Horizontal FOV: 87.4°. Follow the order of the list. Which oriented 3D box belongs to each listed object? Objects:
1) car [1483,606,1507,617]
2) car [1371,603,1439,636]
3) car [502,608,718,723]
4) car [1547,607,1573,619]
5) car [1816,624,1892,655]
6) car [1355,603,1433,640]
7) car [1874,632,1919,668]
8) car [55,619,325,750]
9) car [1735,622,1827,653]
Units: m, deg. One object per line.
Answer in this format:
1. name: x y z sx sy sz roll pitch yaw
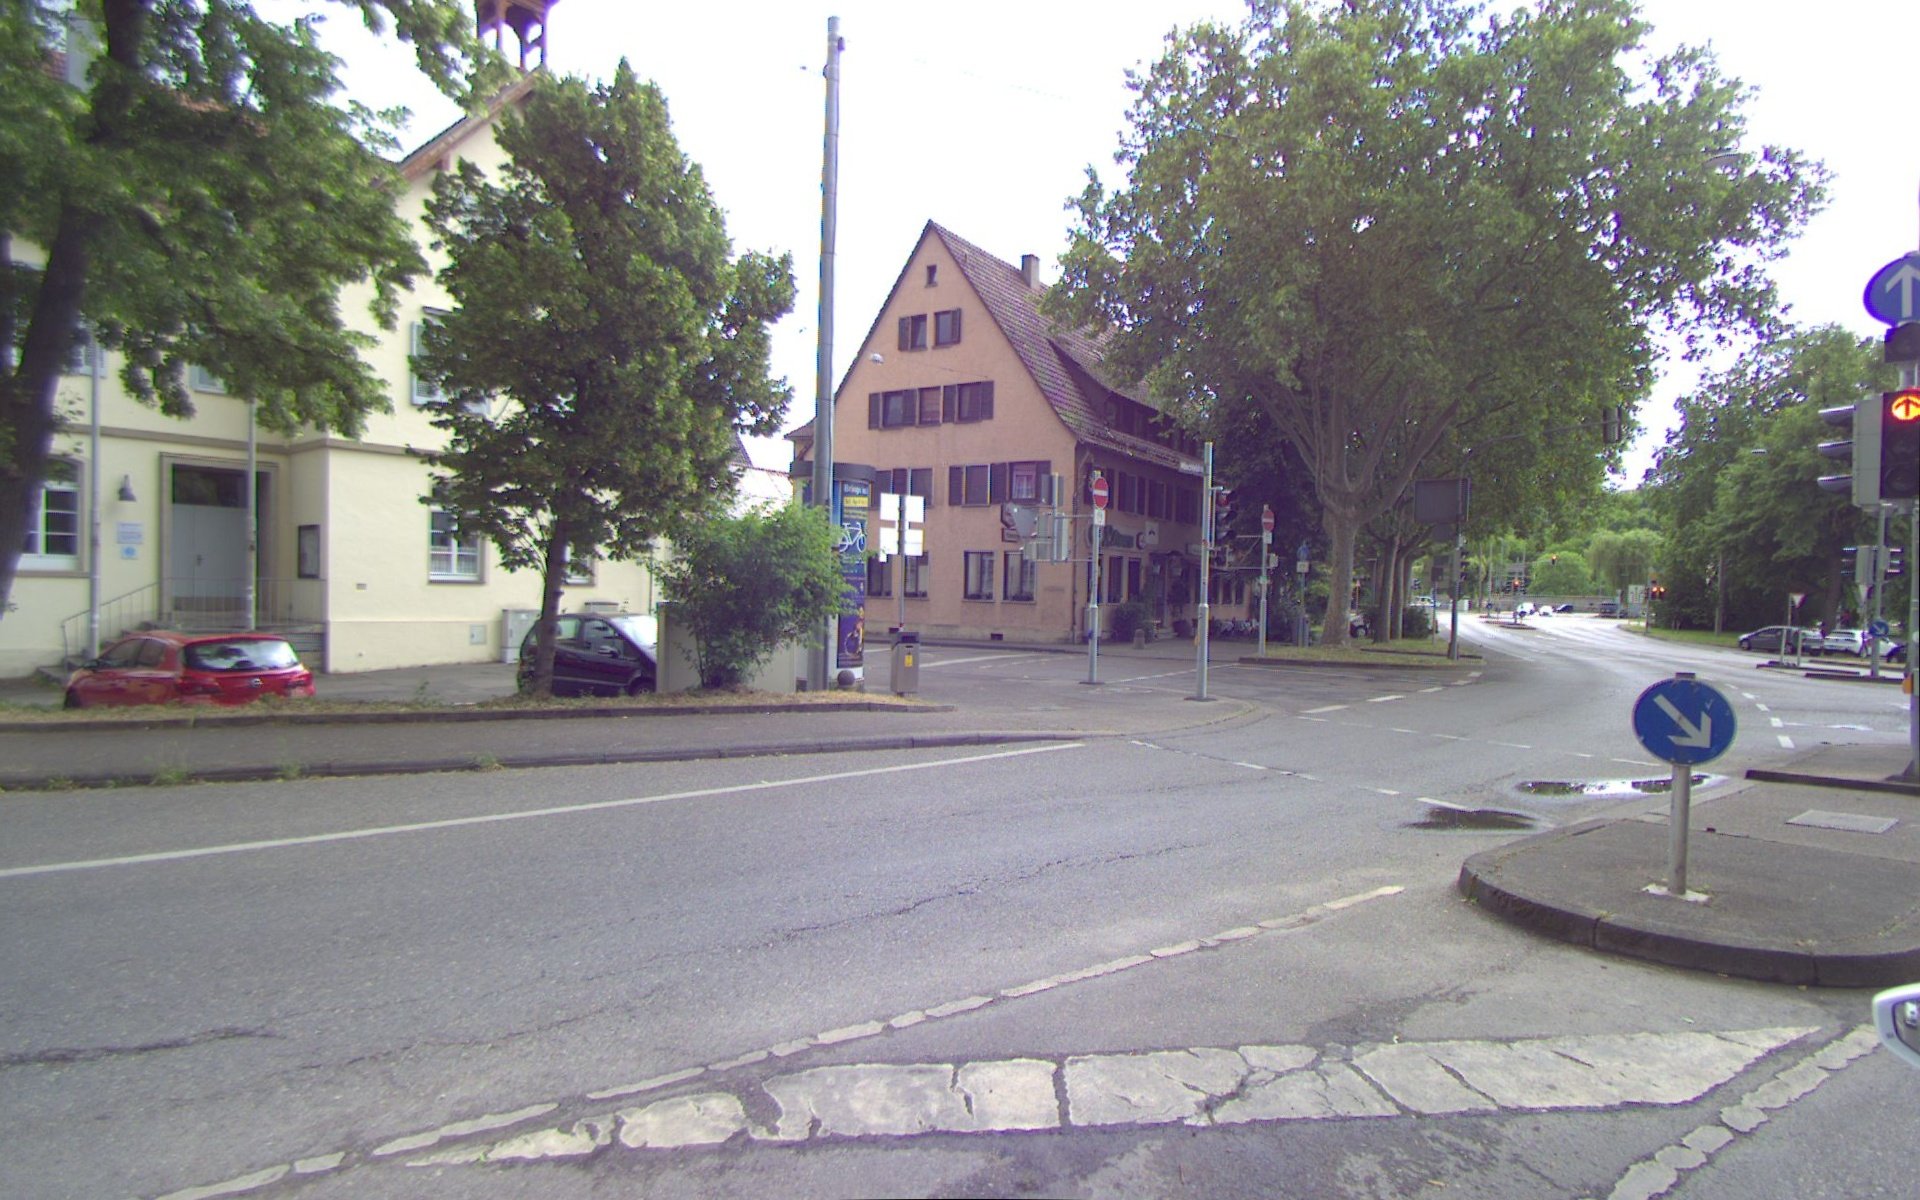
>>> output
1. car: 100.703 2.132 188.939 3.928 2.040 1.996 2 0 30
2. car: 25.466 1.087 57.465 3.387 1.765 1.570 2 0 28
3. car: -5.765 1.006 16.590 3.035 1.654 1.607 2 0 22
4. car: 108.218 2.321 181.094 3.928 2.040 1.996 2 0 30
5. car: 47.298 2.084 53.160 3.342 1.484 1.543 2 0 -19
6. car: 21.405 1.048 49.581 3.387 1.663 1.570 2 0 28
7. car: 39.566 2.080 40.944 1.442 1.412 3.596 2 0 3
8. car: -10.176 1.013 13.242 3.492 1.397 1.605 2 0 30
9. car: 43.859 1.970 53.760 1.559 1.484 3.543 2 0 -17
